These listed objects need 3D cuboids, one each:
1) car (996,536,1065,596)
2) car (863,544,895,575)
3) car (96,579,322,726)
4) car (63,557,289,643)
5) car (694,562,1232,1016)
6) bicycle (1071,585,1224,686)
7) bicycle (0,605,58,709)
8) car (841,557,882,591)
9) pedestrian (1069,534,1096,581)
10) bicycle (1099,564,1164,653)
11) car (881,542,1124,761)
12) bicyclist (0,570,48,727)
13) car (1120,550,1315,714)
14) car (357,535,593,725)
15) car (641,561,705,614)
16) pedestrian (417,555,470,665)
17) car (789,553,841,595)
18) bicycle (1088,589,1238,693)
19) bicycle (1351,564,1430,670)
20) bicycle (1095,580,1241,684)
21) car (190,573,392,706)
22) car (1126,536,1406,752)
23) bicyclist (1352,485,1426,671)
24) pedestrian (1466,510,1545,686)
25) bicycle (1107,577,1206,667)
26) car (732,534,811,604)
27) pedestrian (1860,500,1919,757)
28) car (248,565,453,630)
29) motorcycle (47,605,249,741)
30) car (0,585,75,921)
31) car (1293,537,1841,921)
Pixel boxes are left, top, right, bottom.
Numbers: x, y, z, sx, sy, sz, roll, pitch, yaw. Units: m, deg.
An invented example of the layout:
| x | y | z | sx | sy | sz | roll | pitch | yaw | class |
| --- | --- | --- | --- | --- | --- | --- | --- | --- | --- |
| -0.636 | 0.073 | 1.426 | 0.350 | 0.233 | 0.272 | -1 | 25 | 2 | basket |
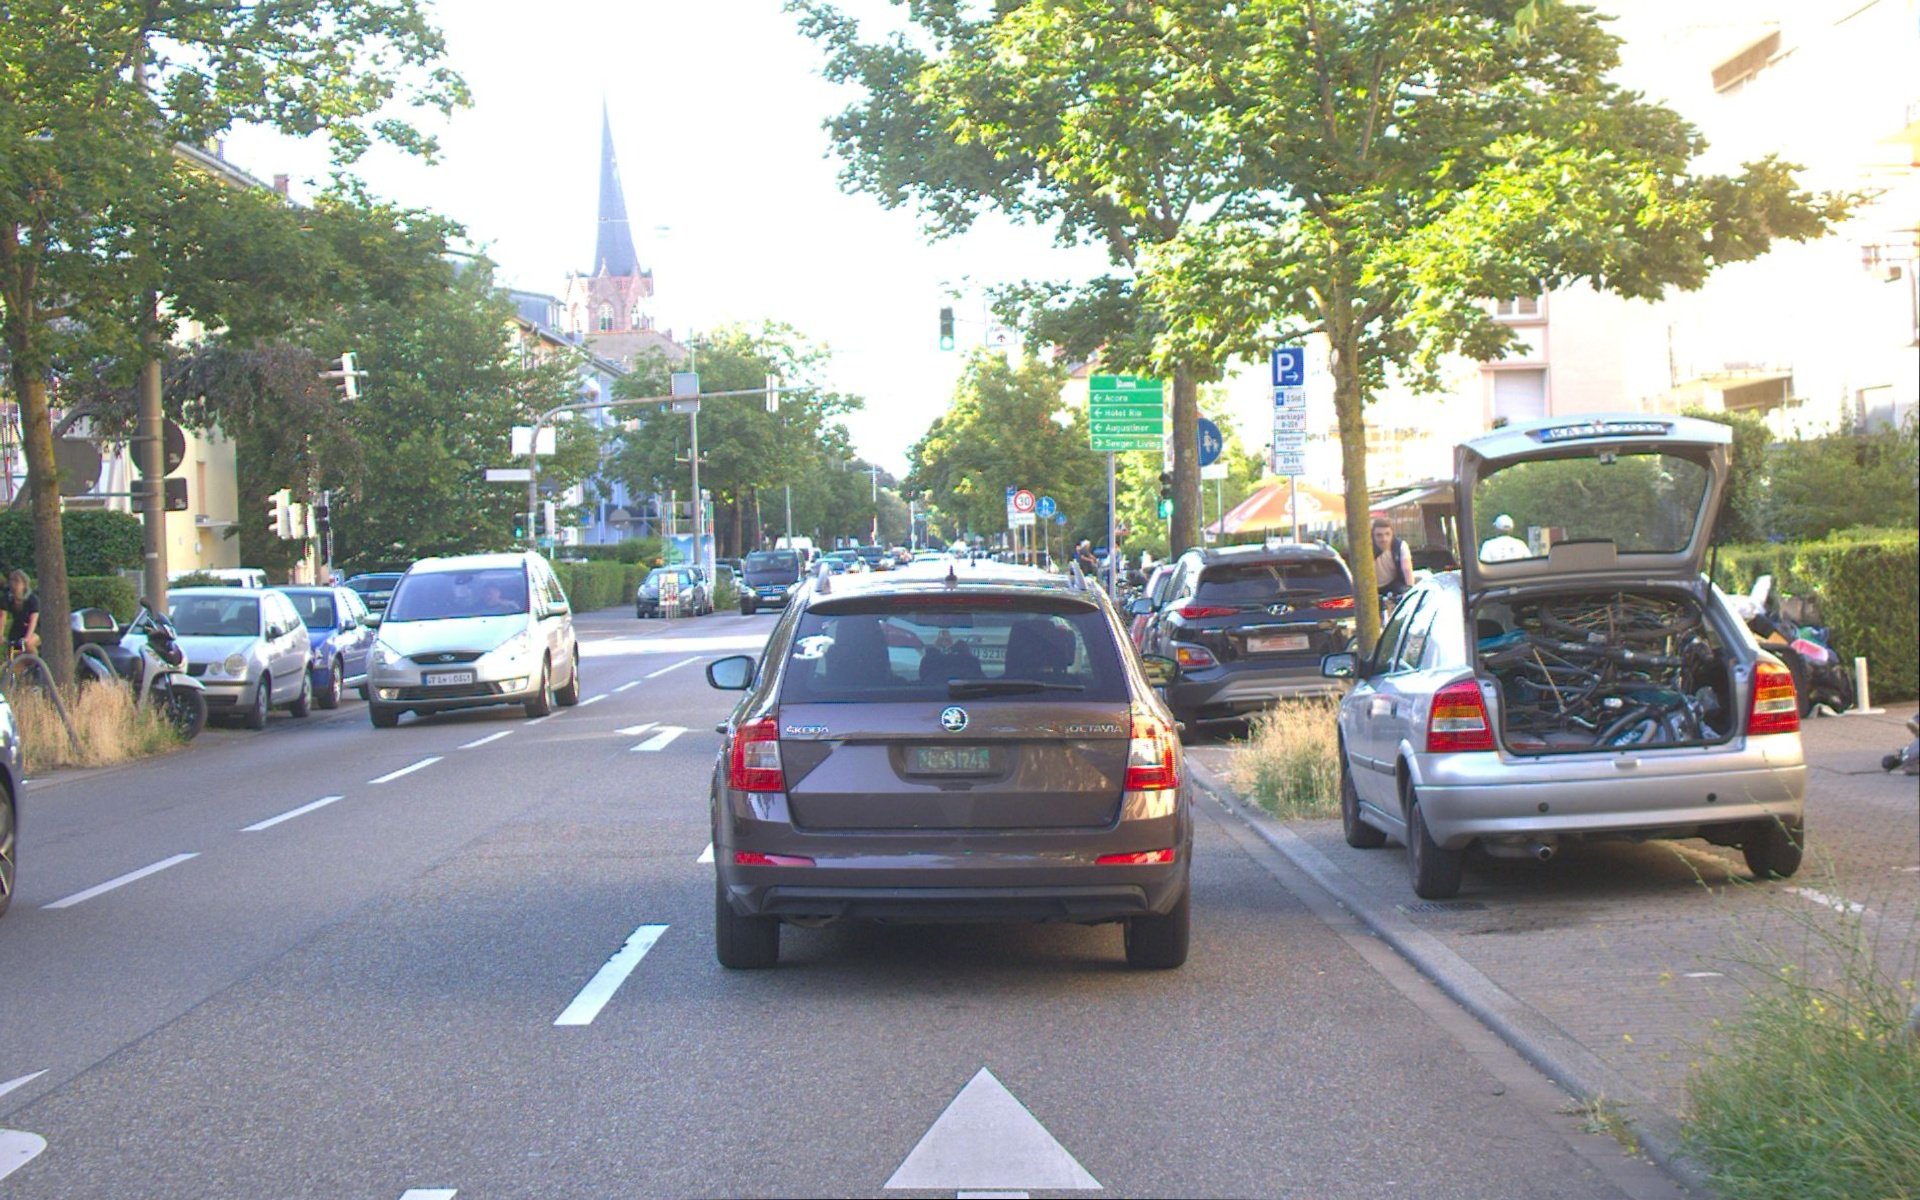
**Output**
| x | y | z | sx | sy | sz | roll | pitch | yaw | class |
| --- | --- | --- | --- | --- | --- | --- | --- | --- | --- |
| 2.147 | -1.037 | 103.642 | 1.994 | 1.766 | 4.000 | 0 | 1 | 3 | car |
| -5.424 | -2.704 | 231.254 | 1.993 | 2.007 | 4.000 | -2 | 1 | 0 | car |
| -8.031 | 0.525 | 37.044 | 1.593 | 1.465 | 3.803 | 1 | 1 | 0 | car |
| -17.643 | -0.011 | 77.498 | 4.634 | 1.805 | 1.862 | -2 | 1 | 0 | car |
| -0.017 | 0.601 | 13.536 | 1.773 | 1.484 | 4.311 | 0 | 1 | -1 | car |
| 2.398 | 0.447 | 43.834 | 1.835 | 1.153 | 0.683 | -4 | 0 | 6 | bicycle |
| -10.106 | 0.605 | 36.792 | 0.486 | 1.060 | 1.534 | -1 | 1 | -1 | bicycle |
| -4.673 | -1.246 | 163.519 | 1.787 | 1.565 | 4.000 | 0 | 1 | 1 | car |
| 4.474 | -1.563 | 125.487 | 0.675 | 1.698 | 0.800 | -1 | 1 | 26 | pedestrian |
| 2.285 | 0.112 | 46.045 | 0.501 | 1.143 | 1.959 | -4 | 0 | -6 | bicycle |
| 0.323 | 0.347 | 26.735 | 1.737 | 1.565 | 4.000 | 0 | 1 | 1 | car |
| -10.110 | 0.513 | 36.861 | 0.468 | 1.657 | 0.552 | -1 | 1 | -1 | bicyclist |
| 2.505 | 0.268 | 34.200 | 1.703 | 1.445 | 4.013 | -3 | 1 | 2 | car |
| -5.080 | 0.267 | 36.617 | 1.805 | 1.798 | 4.746 | -3 | 1 | -1 | car |
| -8.283 | -0.377 | 99.423 | 1.522 | 1.452 | 3.585 | -2 | 1 | 0 | car |
| -9.410 | 0.175 | 62.637 | 0.780 | 1.981 | 0.821 | -2 | 1 | 0 | pedestrian |
| -5.674 | -1.024 | 134.698 | 1.830 | 1.574 | 4.000 | -2 | 1 | 0 | car |
| 2.419 | 0.484 | 40.874 | 1.687 | 1.104 | 0.517 | -4 | 0 | 6 | bicycle |
| 4.184 | 0.149 | 33.516 | 0.516 | 0.984 | 1.831 | -1 | 1 | 0 | bicycle |
| 2.290 | 0.347 | 37.902 | 1.570 | 1.100 | 0.392 | -1 | 1 | 1 | bicycle |
| -8.050 | 0.440 | 41.674 | 1.648 | 1.512 | 4.074 | 0 | 1 | 0 | car |
| 2.466 | 0.317 | 28.617 | 1.856 | 1.576 | 4.014 | -3 | 1 | -1 | car |
| 4.179 | -0.216 | 33.533 | 0.581 | 1.782 | 0.852 | -1 | 1 | 0 | bicyclist |
| 5.546 | -0.027 | 34.989 | 0.663 | 1.743 | 0.772 | -3 | 0 | 6 | pedestrian |
| 2.415 | 0.266 | 42.156 | 0.619 | 1.048 | 1.571 | -1 | 1 | 26 | bicycle |
| -5.554 | -0.925 | 101.766 | 1.993 | 1.902 | 4.964 | -4 | 1 | -1 | car |
| 6.306 | 0.172 | 22.105 | 0.757 | 1.634 | 0.694 | -1 | 1 | 36 | pedestrian |
| -14.738 | -0.070 | 83.326 | 4.634 | 1.530 | 1.862 | -1 | 1 | 0 | car |
| -7.884 | 0.705 | 33.336 | 2.052 | 1.260 | 0.765 | -1 | 1 | 38 | motorcycle |
| -5.086 | 0.743 | 13.935 | 1.760 | 1.447 | 4.534 | -4 | 1 | 0 | car |
| 2.700 | 0.503 | 16.241 | 1.708 | 1.475 | 4.268 | -3 | 1 | -1 | car |
